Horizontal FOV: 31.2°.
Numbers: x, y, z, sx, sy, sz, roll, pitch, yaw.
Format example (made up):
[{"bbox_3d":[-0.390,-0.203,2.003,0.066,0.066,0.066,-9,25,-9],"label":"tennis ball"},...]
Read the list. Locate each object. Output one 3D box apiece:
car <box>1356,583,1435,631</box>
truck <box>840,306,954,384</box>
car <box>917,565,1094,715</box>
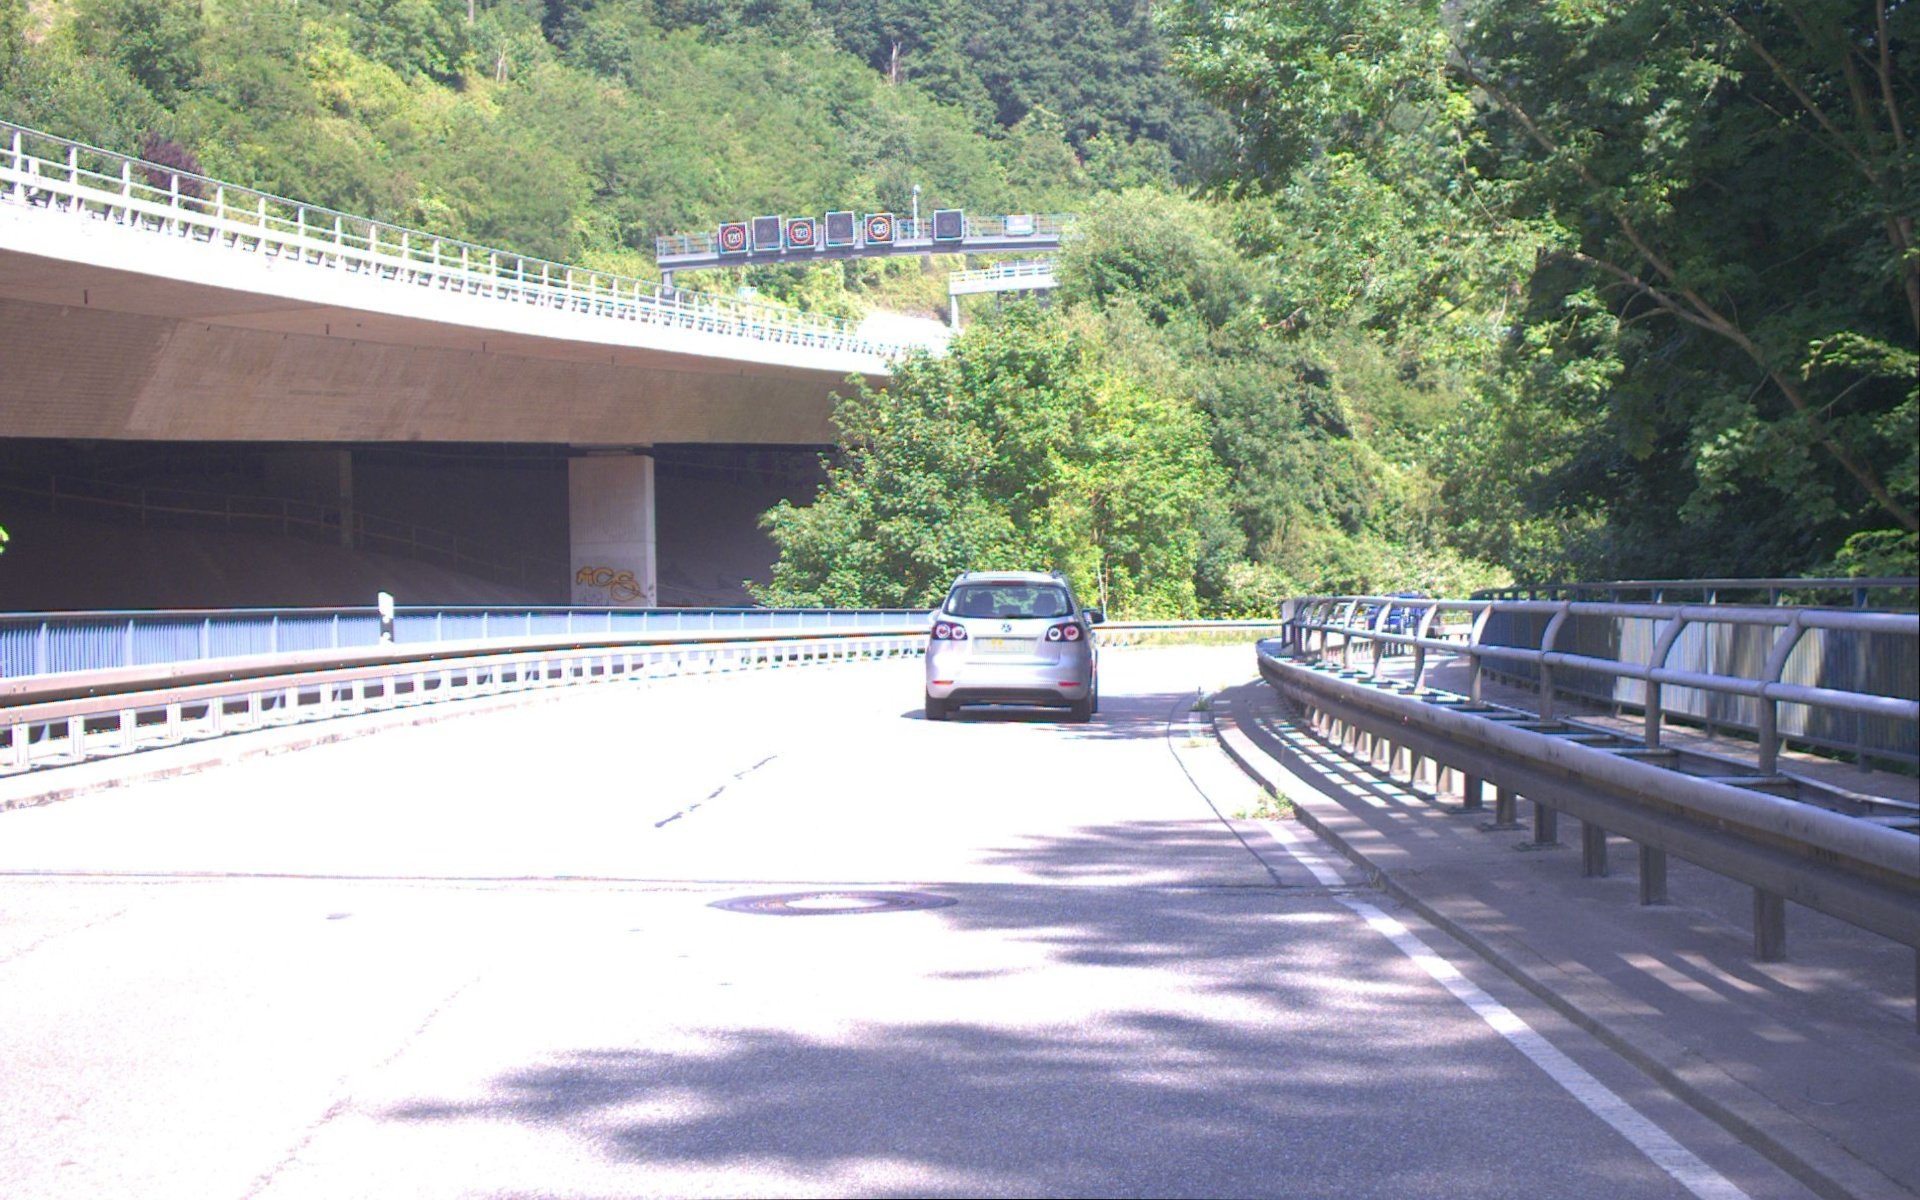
[{"bbox_3d":[14.839,0.258,117.053,1.900,1.575,4.551,1,0,17],"label":"car"},{"bbox_3d":[-3.026,-12.521,169.572,3.372,3.343,10.171,1,2,12],"label":"truck"},{"bbox_3d":[0.542,0.403,37.009,1.751,1.515,4.159,0,0,3],"label":"car"}]
